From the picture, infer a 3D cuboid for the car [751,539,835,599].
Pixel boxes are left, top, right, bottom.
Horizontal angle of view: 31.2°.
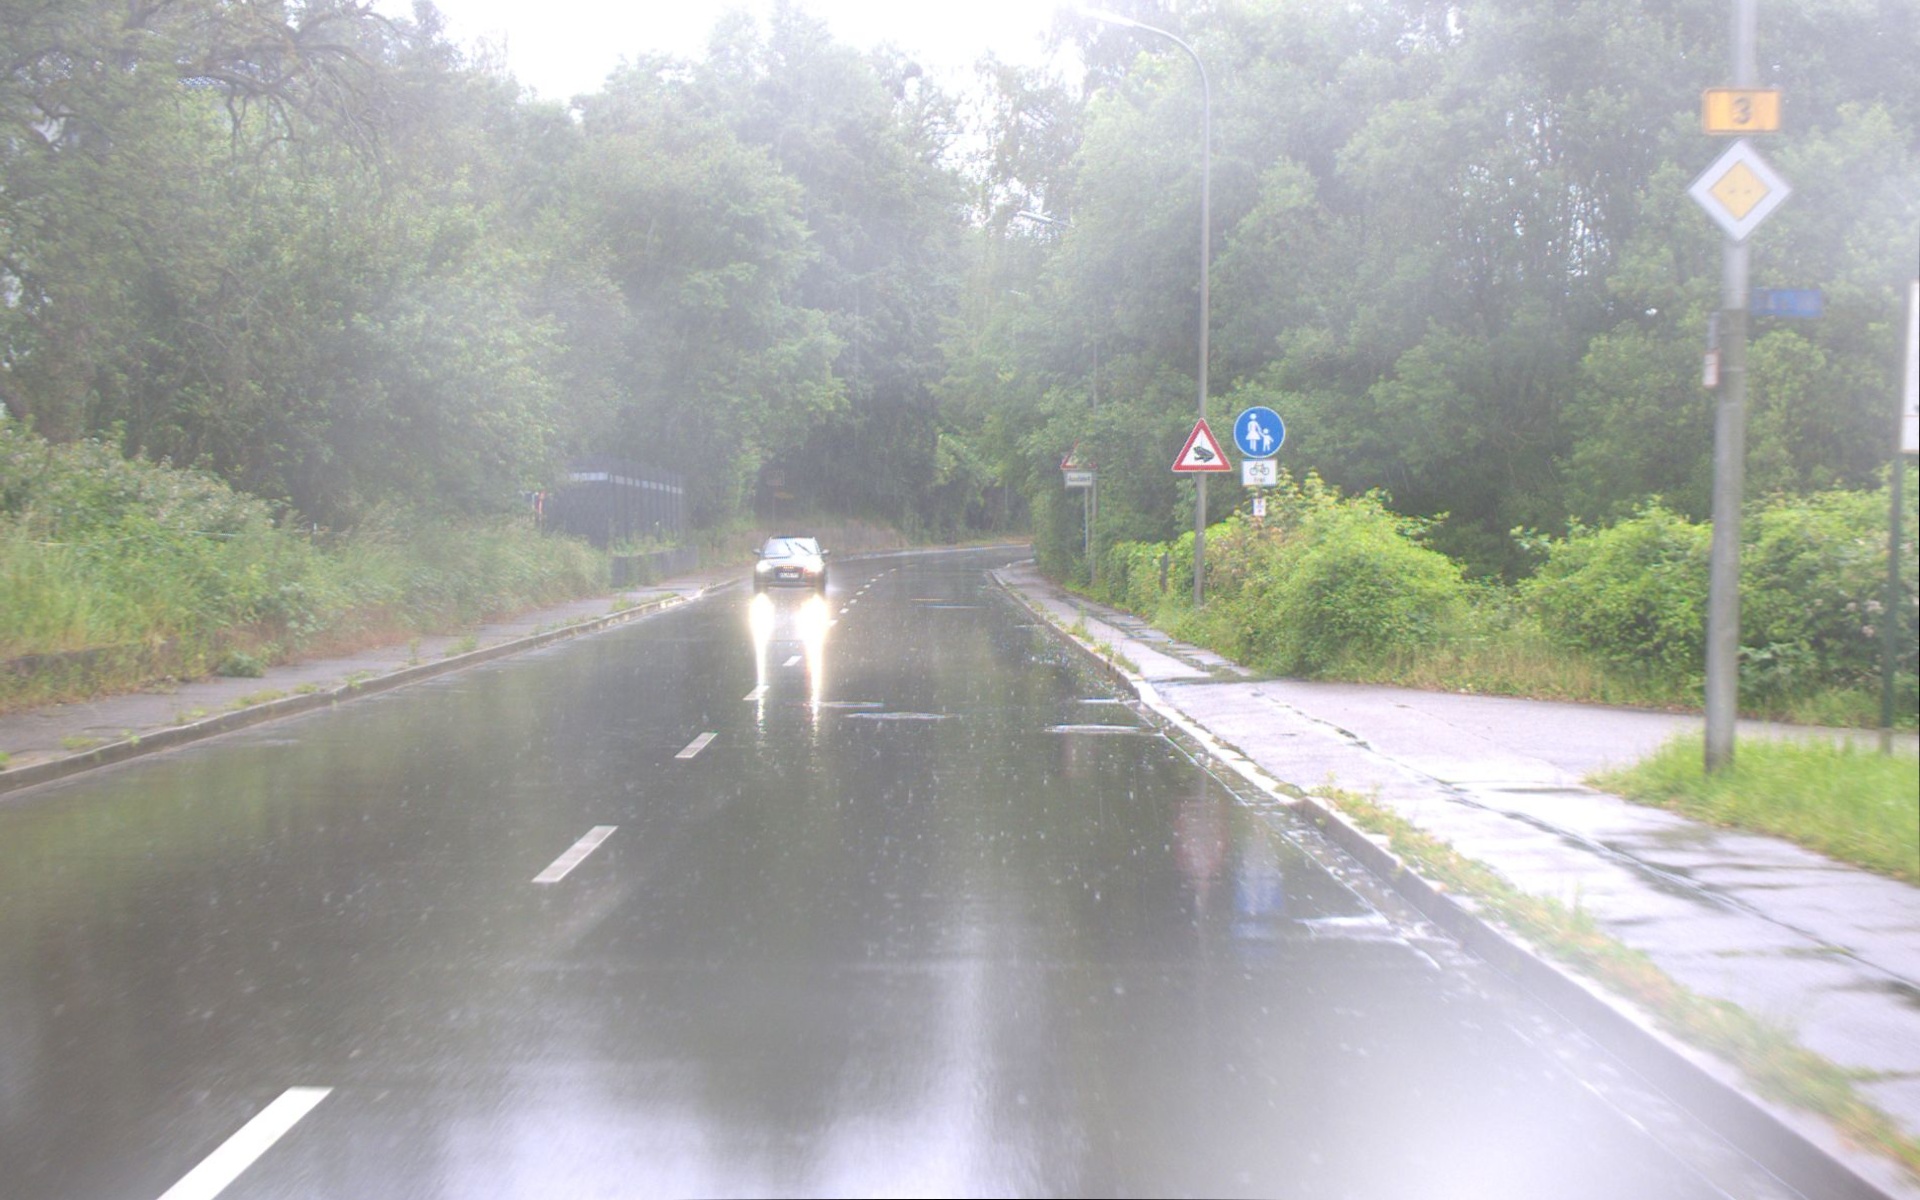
[{"bbox_3d":[-4.375,-0.840,90.730,1.993,1.449,4.428,1,2,0],"label":"car"}]
